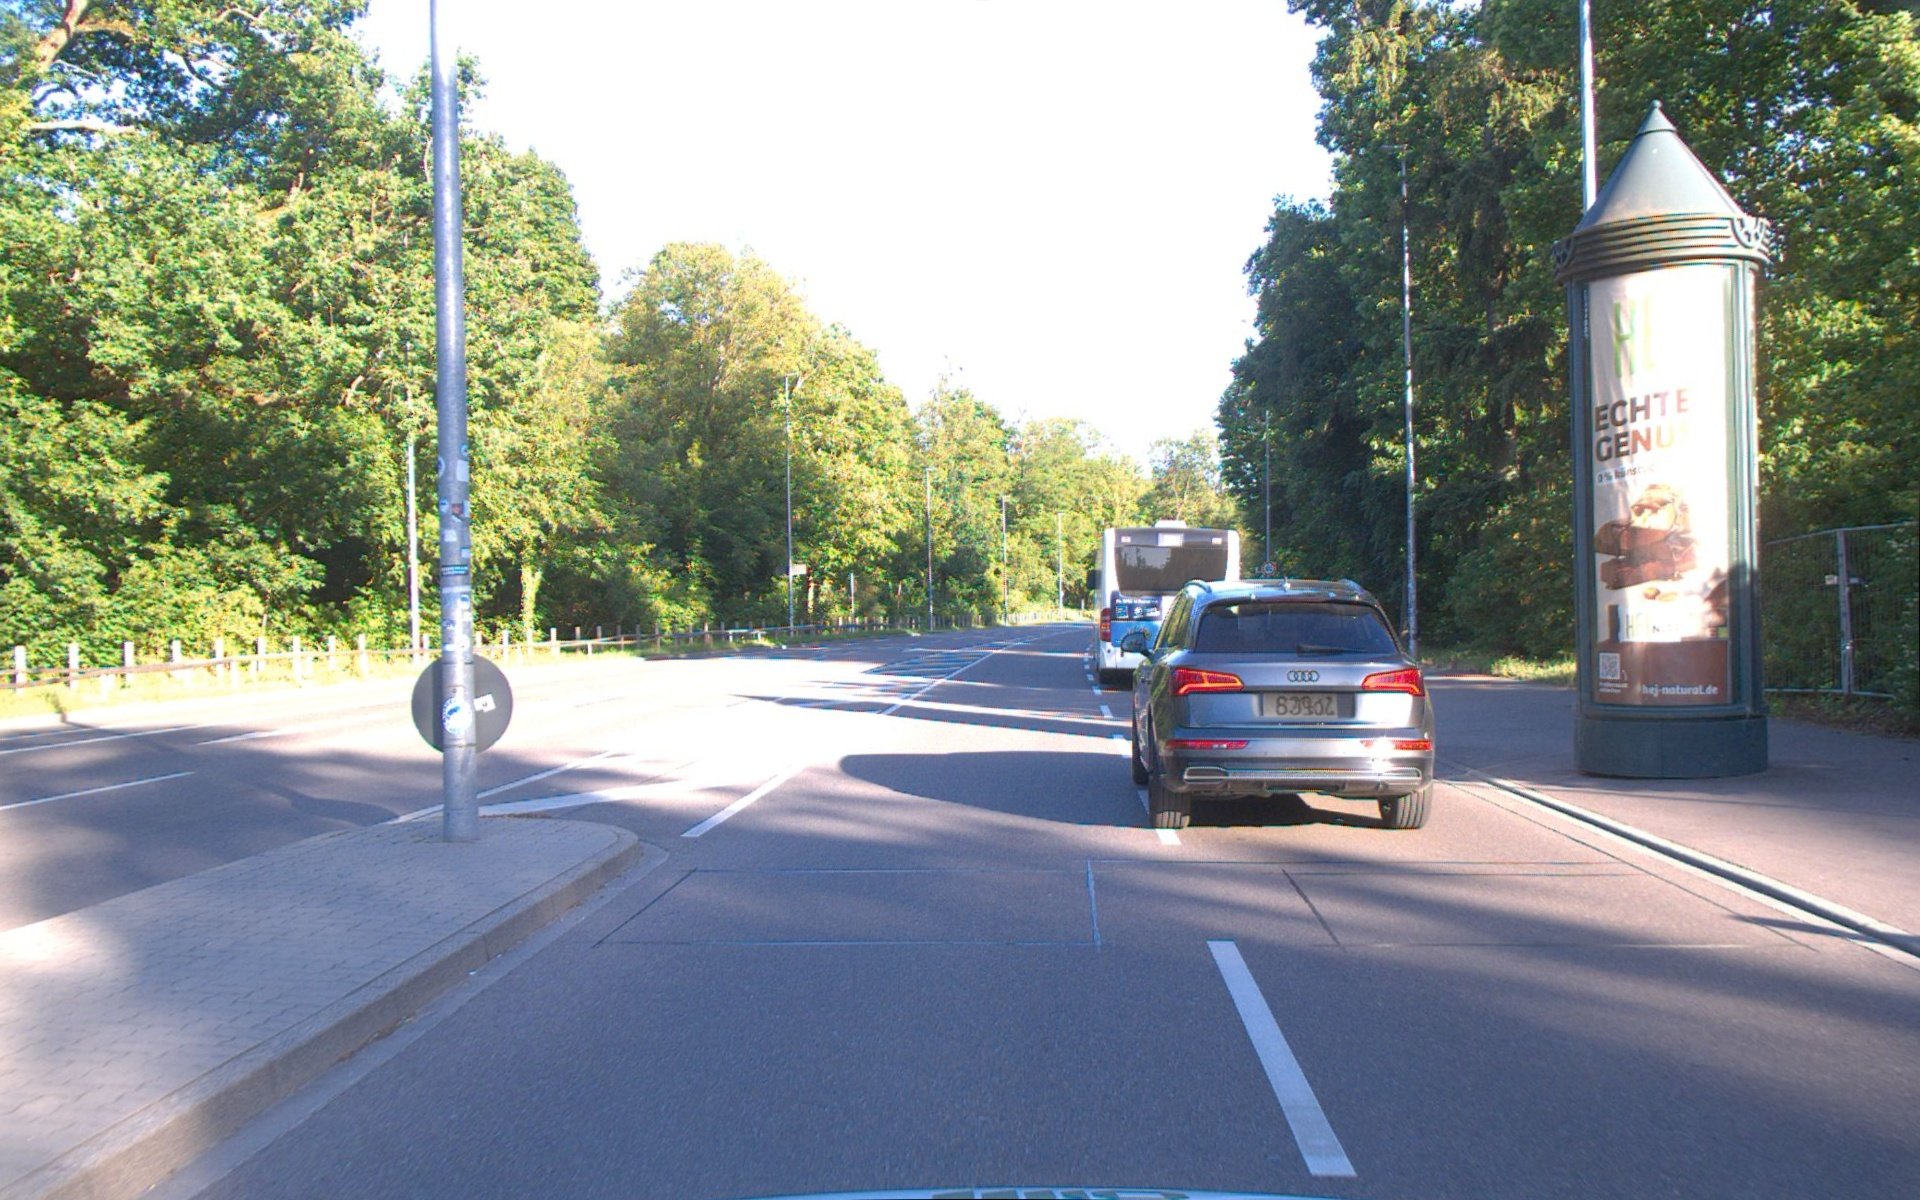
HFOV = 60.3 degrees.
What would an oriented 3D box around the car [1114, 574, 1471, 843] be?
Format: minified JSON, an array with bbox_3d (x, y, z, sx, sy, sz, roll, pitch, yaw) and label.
[{"bbox_3d":[2.242,0.660,12.380,1.854,1.633,4.545,0,0,1],"label":"car"}]

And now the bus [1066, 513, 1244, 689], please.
[{"bbox_3d":[3.823,0.038,35.238,2.634,3.096,12.042,0,0,1],"label":"bus"}]
